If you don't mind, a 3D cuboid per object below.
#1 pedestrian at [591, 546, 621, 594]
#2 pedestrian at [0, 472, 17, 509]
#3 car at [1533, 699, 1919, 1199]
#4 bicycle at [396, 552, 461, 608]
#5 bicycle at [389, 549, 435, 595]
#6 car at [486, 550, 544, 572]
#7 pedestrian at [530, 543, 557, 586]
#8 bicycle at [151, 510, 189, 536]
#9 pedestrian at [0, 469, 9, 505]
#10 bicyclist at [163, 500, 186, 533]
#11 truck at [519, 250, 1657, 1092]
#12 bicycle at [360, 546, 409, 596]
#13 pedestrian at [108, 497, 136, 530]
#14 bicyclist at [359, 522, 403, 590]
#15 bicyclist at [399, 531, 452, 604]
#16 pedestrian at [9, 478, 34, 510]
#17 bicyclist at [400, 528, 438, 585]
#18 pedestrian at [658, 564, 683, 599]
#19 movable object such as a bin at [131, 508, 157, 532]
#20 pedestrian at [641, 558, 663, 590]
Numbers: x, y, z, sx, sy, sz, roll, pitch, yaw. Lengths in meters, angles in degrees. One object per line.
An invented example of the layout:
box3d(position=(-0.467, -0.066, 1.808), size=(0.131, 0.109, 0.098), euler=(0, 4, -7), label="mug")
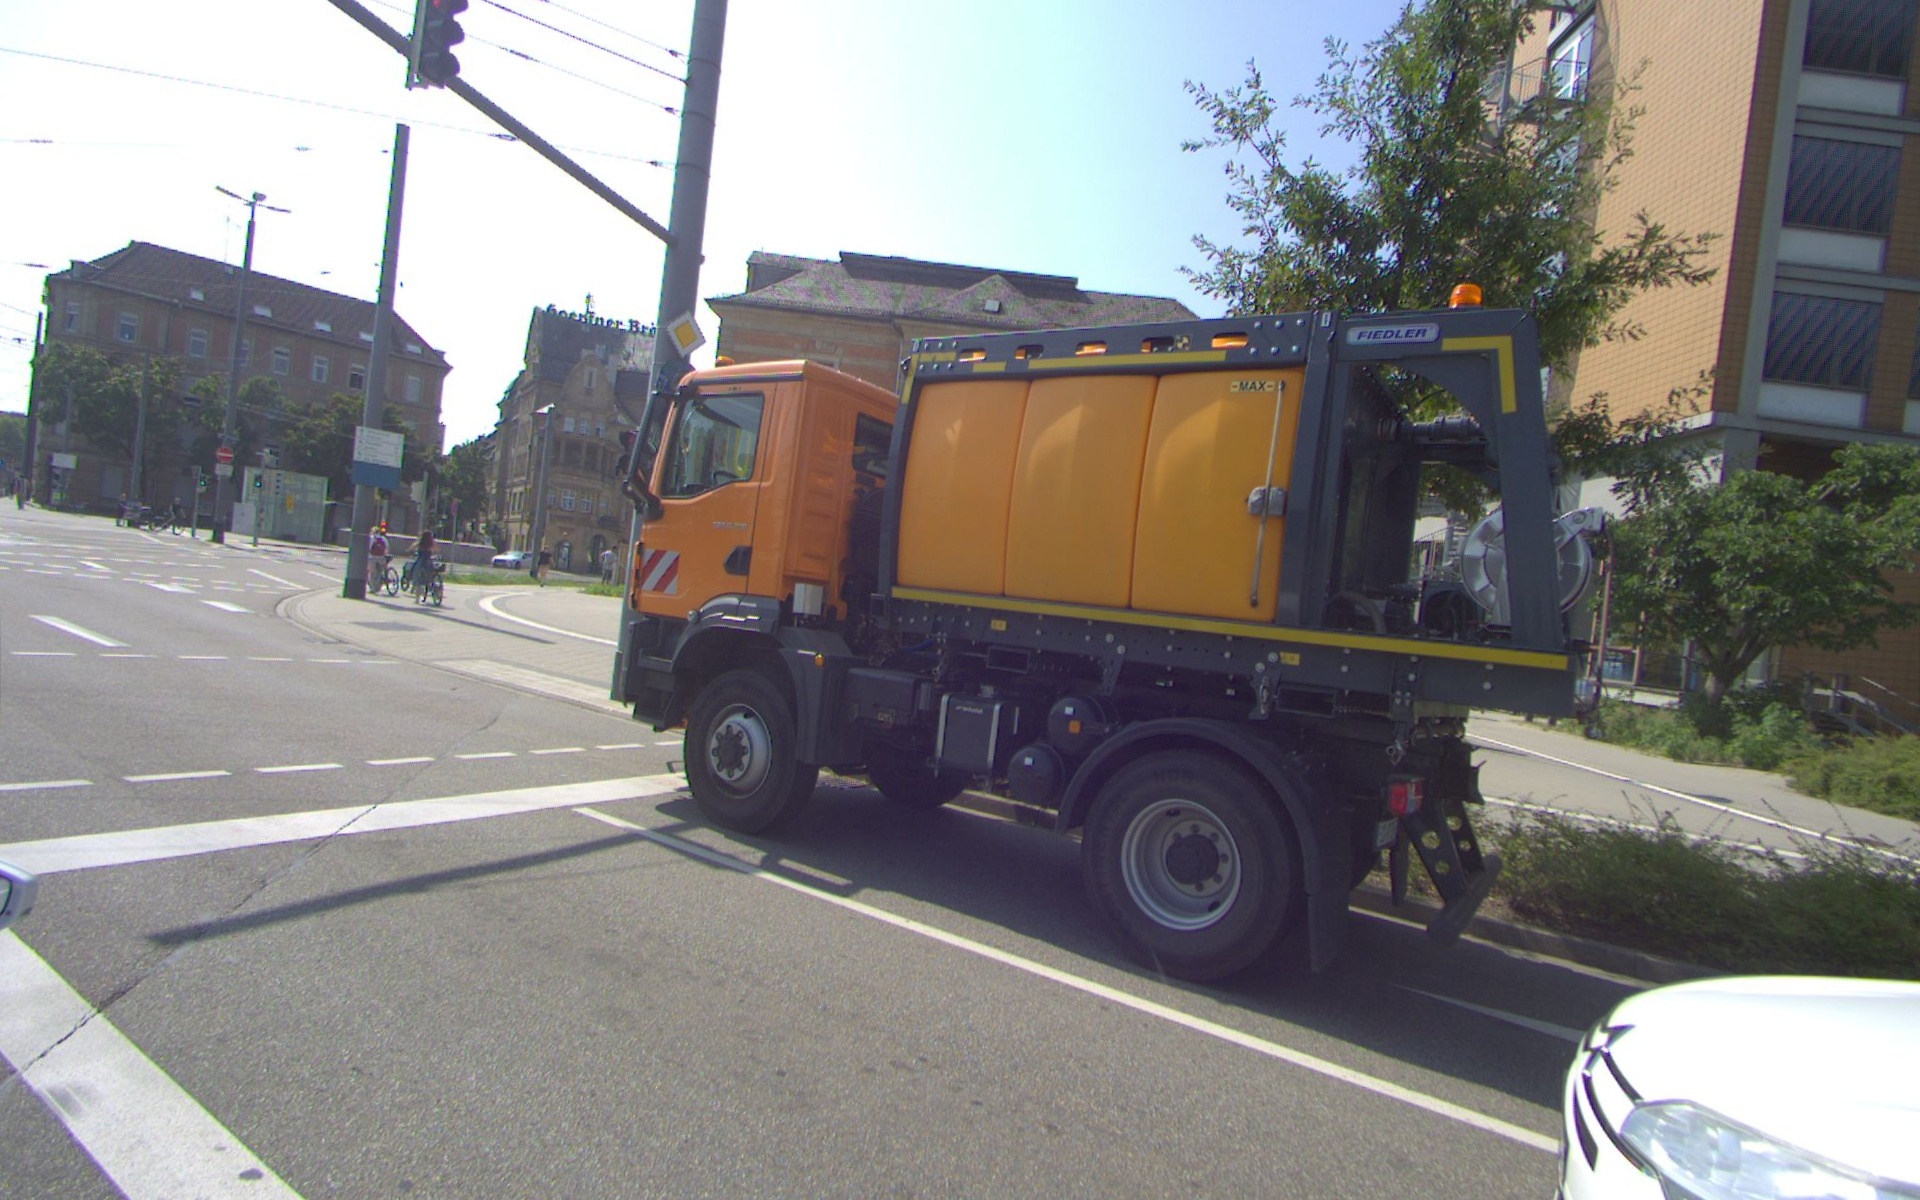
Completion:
box3d(position=(-13.643, -1.154, 38.764), size=(0.808, 1.746, 0.546), euler=(7, 1, -9), label="pedestrian")
box3d(position=(-83.856, -9.623, 88.494), size=(0.960, 3.055, 0.983), euler=(7, 1, 38), label="pedestrian")
box3d(position=(3.263, 1.181, 1.066), size=(4.534, 1.446, 1.770), euler=(7, 0, 32), label="car")
box3d(position=(-11.959, -0.454, 22.618), size=(1.795, 1.068, 0.492), euler=(7, 1, 37), label="bicycle")
box3d(position=(-14.513, -0.749, 26.638), size=(1.632, 1.068, 0.535), euler=(7, 1, 45), label="bicycle")
box3d(position=(-31.999, -2.782, 72.415), size=(1.962, 1.103, 4.002), euler=(7, 0, 7), label="car")
box3d(position=(-16.453, -1.407, 39.779), size=(0.727, 1.595, 0.787), euler=(6, 1, -14), label="pedestrian")
box3d(position=(-39.802, -3.871, 50.695), size=(1.622, 1.068, 0.471), euler=(7, 1, 12), label="bicycle")
box3d(position=(-82.647, -9.759, 86.423), size=(0.960, 3.055, 0.983), euler=(7, 1, 38), label="pedestrian")
box3d(position=(-39.575, -4.209, 50.663), size=(0.511, 1.548, 0.613), euler=(7, 1, 8), label="bicyclist")
box3d(position=(0.313, 0.044, 6.697), size=(6.751, 3.173, 2.493), euler=(7, 0, 34), label="truck")
box3d(position=(-13.971, -0.710, 24.411), size=(1.632, 1.068, 0.535), euler=(7, 1, 45), label="bicycle")
box3d(position=(-42.280, -4.364, 50.769), size=(0.519, 1.564, 0.852), euler=(7, 1, 24), label="pedestrian")
box3d(position=(-14.125, -1.073, 24.544), size=(0.702, 1.537, 0.626), euler=(7, 1, 44), label="bicyclist")
box3d(position=(-12.056, -0.724, 22.693), size=(0.653, 1.537, 0.734), euler=(7, 1, 36), label="bicyclist")
box3d(position=(-50.817, -5.727, 54.472), size=(0.562, 1.623, 0.701), euler=(7, 1, 24), label="pedestrian")
box3d(position=(-14.188, -1.145, 26.363), size=(0.882, 1.410, 0.529), euler=(7, 1, 44), label="bicyclist")
box3d(position=(-12.557, -0.786, 43.635), size=(0.679, 1.417, 0.767), euler=(7, 1, 7), label="pedestrian")
box3d(position=(-41.682, -4.105, 51.404), size=(0.502, 1.091, 0.815), euler=(7, 1, 21), label="movable object such as a bin")
box3d(position=(-12.767, -1.090, 41.755), size=(0.659, 1.229, 0.523), euler=(6, 1, -30), label="pedestrian")
